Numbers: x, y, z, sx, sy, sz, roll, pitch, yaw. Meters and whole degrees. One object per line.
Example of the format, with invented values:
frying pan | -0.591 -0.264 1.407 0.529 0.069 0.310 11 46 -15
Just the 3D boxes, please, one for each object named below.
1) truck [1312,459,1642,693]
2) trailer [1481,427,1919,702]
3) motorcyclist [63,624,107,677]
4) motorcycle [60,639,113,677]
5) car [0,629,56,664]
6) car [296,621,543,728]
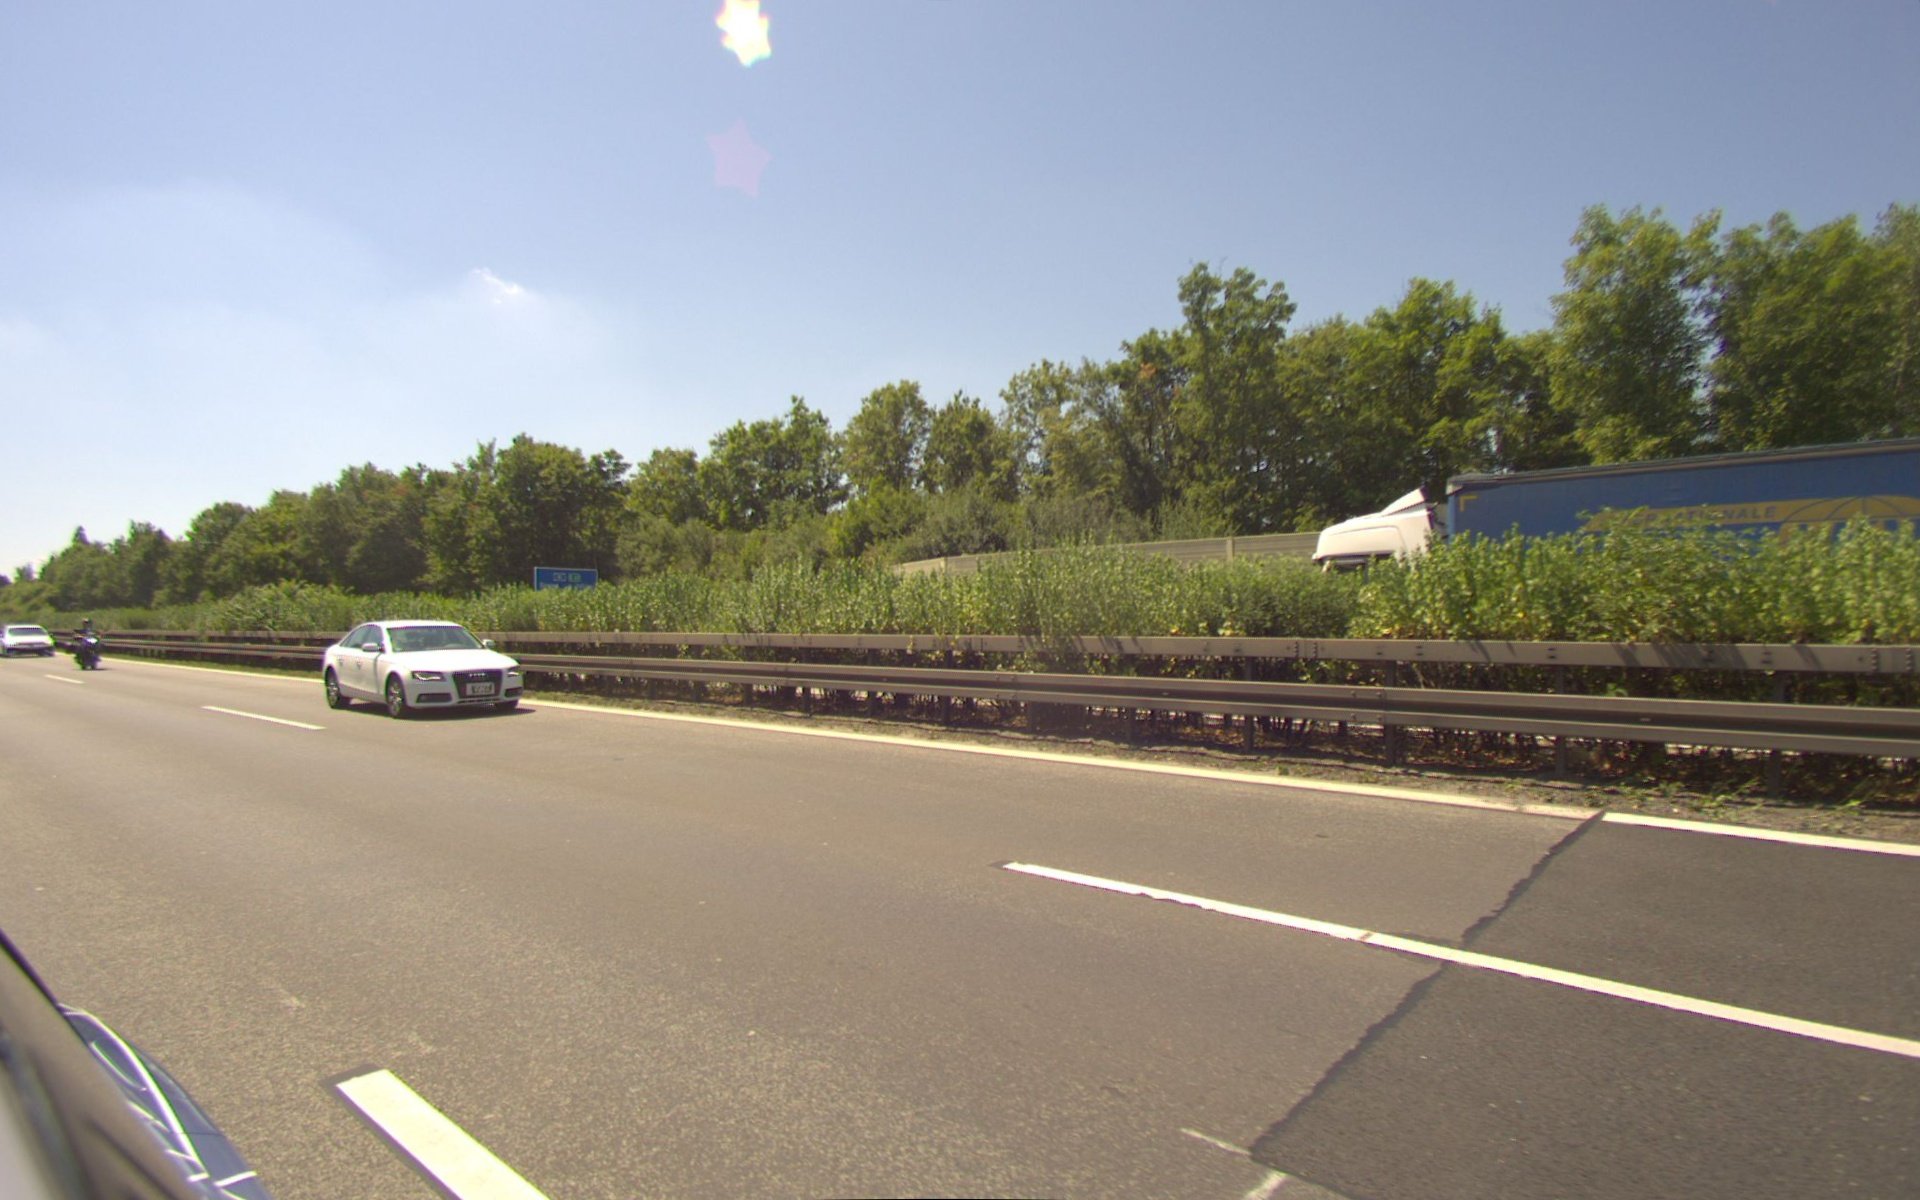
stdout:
truck | 9.803 -0.348 19.398 5.089 3.882 2.643 -2 -1 41
trailer | 15.339 -0.531 14.537 13.666 3.882 2.677 -2 -1 41
motorcyclist | -28.414 1.619 32.871 1.299 1.609 0.884 -1 1 41
motorcycle | -28.381 1.872 32.858 2.848 1.097 0.903 -1 0 41
car | -42.835 2.090 46.214 4.666 1.451 1.763 -2 -1 41
car | -8.918 1.112 16.466 5.123 1.451 1.857 -2 -1 41
